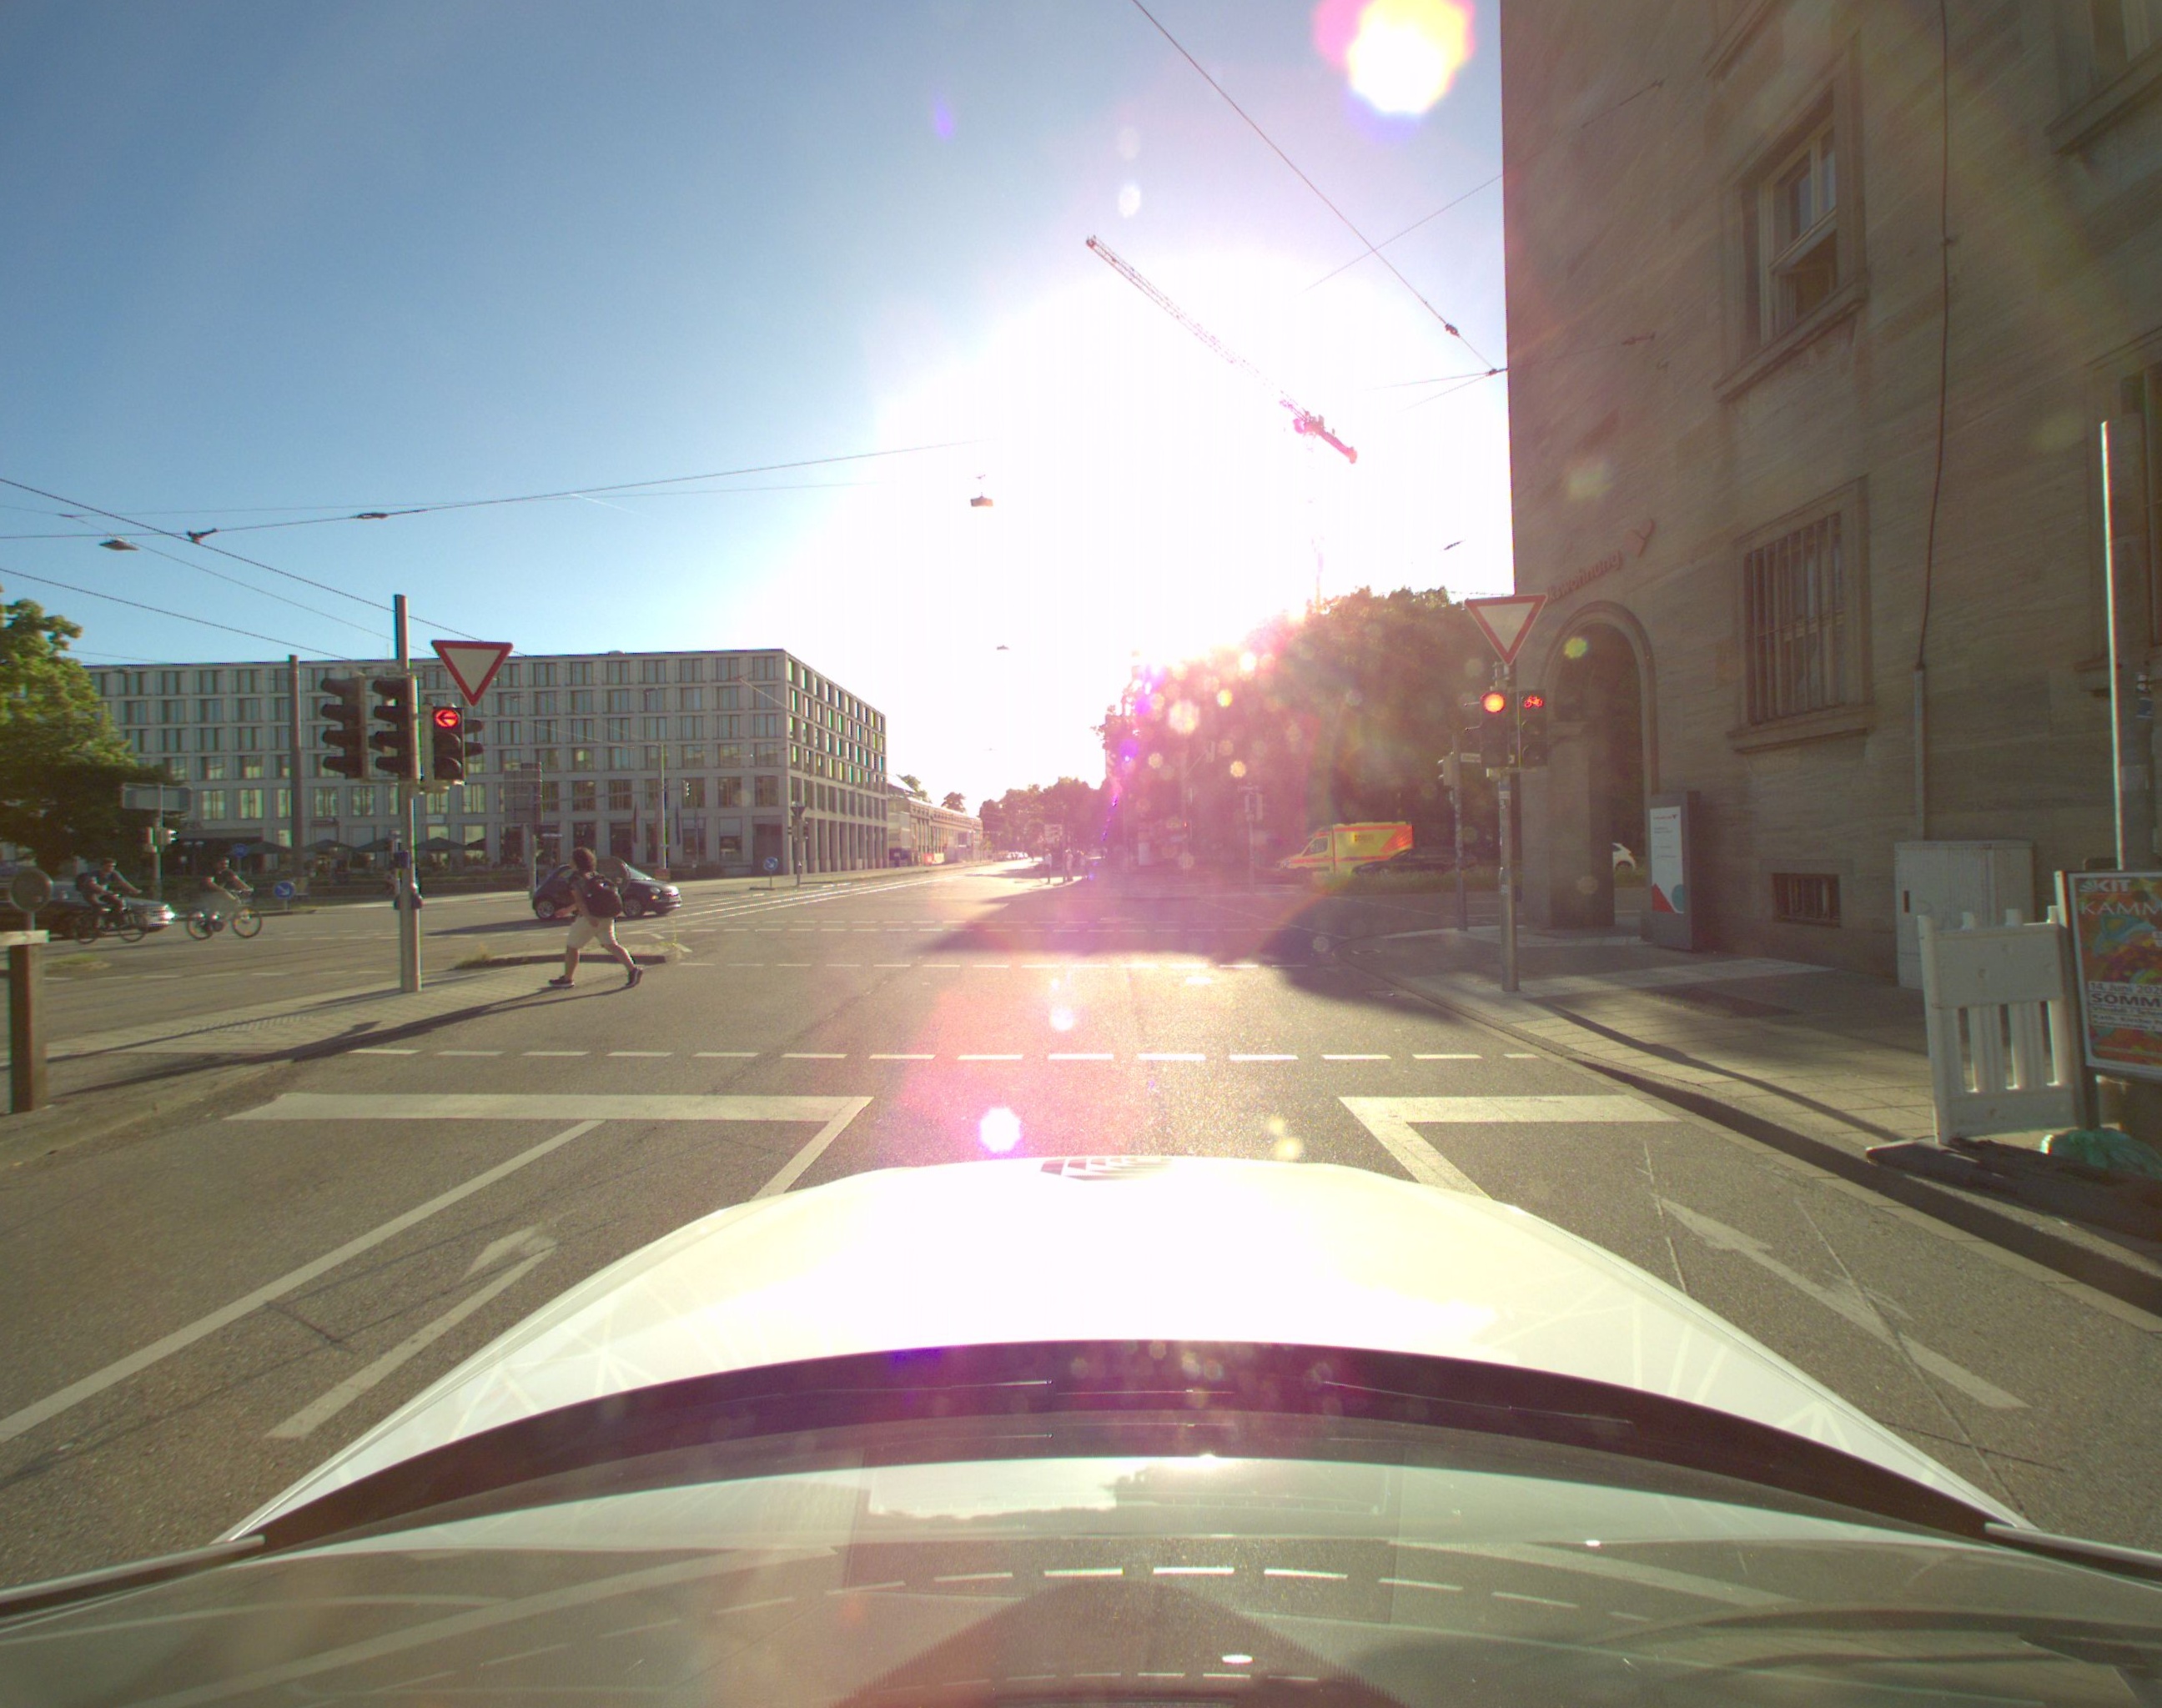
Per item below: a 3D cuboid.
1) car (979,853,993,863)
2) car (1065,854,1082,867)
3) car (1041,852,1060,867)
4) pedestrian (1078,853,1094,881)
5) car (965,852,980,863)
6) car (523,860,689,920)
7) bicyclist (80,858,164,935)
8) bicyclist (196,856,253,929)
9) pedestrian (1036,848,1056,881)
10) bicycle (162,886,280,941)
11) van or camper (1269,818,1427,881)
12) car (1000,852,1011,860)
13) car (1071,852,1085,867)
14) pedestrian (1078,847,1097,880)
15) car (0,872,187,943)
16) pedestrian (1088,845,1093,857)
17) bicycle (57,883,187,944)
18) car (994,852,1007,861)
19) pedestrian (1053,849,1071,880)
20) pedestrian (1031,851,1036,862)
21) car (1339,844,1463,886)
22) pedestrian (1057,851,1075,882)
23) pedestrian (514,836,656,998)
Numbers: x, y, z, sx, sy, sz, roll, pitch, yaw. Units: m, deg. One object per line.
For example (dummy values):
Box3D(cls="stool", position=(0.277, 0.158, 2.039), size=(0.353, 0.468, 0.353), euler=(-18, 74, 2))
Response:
Box3D(cls="car", position=(-16.882, 0.719, 144.963), size=(1.812, 1.712, 3.807), euler=(-2, 0, 2))
Box3D(cls="car", position=(-0.838, 0.759, 92.214), size=(1.678, 1.501, 3.510), euler=(0, -1, 2))
Box3D(cls="car", position=(-3.016, 0.536, 82.104), size=(1.678, 1.501, 3.510), euler=(0, -1, 2))
Box3D(cls="pedestrian", position=(0.264, 0.744, 46.704), size=(0.763, 1.558, 0.585), euler=(-2, 0, -15))
Box3D(cls="car", position=(-17.817, 0.499, 134.112), size=(1.812, 1.712, 3.807), euler=(-2, 0, 2))
Box3D(cls="car", position=(-12.694, 0.937, 21.890), size=(3.519, 1.506, 1.522), euler=(-1, 0, -1))
Box3D(cls="bicyclist", position=(-21.731, 0.950, 18.472), size=(0.885, 1.695, 0.846), euler=(-2, 0, 7))
Box3D(cls="bicyclist", position=(-19.082, 0.853, 18.158), size=(0.615, 1.582, 0.595), euler=(-2, 0, 7))
Box3D(cls="pedestrian", position=(-1.941, 0.594, 45.065), size=(0.967, 1.784, 0.776), euler=(-2, 0, -15))
Box3D(cls="bicycle", position=(-19.113, 1.317, 18.110), size=(1.913, 1.122, 0.792), euler=(-2, 0, 7))
Box3D(cls="van or camper", position=(12.451, -0.190, 38.543), size=(6.674, 2.862, 2.915), euler=(0, -1, 6))
Box3D(cls="car", position=(-14.857, 0.445, 160.516), size=(1.603, 1.498, 3.807), euler=(-2, 0, 2))
Box3D(cls="car", position=(-0.375, 0.772, 107.827), size=(1.678, 1.962, 3.510), euler=(0, -1, 2))
Box3D(cls="pedestrian", position=(0.362, 0.534, 45.939), size=(0.849, 1.784, 0.776), euler=(-2, 0, -15))
Box3D(cls="car", position=(-26.579, 1.356, 21.035), size=(4.880, 1.656, 1.935), euler=(-1, 1, 2))
Box3D(cls="pedestrian", position=(2.947, -0.824, 246.031), size=(1.396, 3.597, 1.568), euler=(0, -1, 1))
Box3D(cls="bicycle", position=(-21.712, 1.334, 18.458), size=(2.037, 1.288, 0.888), euler=(-2, 0, 7))
Box3D(cls="car", position=(-15.485, 0.457, 156.542), size=(1.812, 1.712, 3.807), euler=(-2, 0, 2))
Box3D(cls="pedestrian", position=(-1.119, 0.593, 47.561), size=(0.849, 1.784, 0.776), euler=(-2, 0, -15))
Box3D(cls="pedestrian", position=(-6.393, 0.334, 109.636), size=(0.522, 1.484, 0.437), euler=(0, -1, 0))
Box3D(cls="car", position=(12.809, 0.449, 32.780), size=(4.297, 1.647, 1.889), euler=(0, -1, 2))
Box3D(cls="pedestrian", position=(-0.857, 0.716, 46.765), size=(0.849, 1.784, 0.776), euler=(-2, 0, -15))
Box3D(cls="pedestrian", position=(-5.676, 0.681, 9.403), size=(1.039, 1.721, 1.032), euler=(-2, 0, -10))
